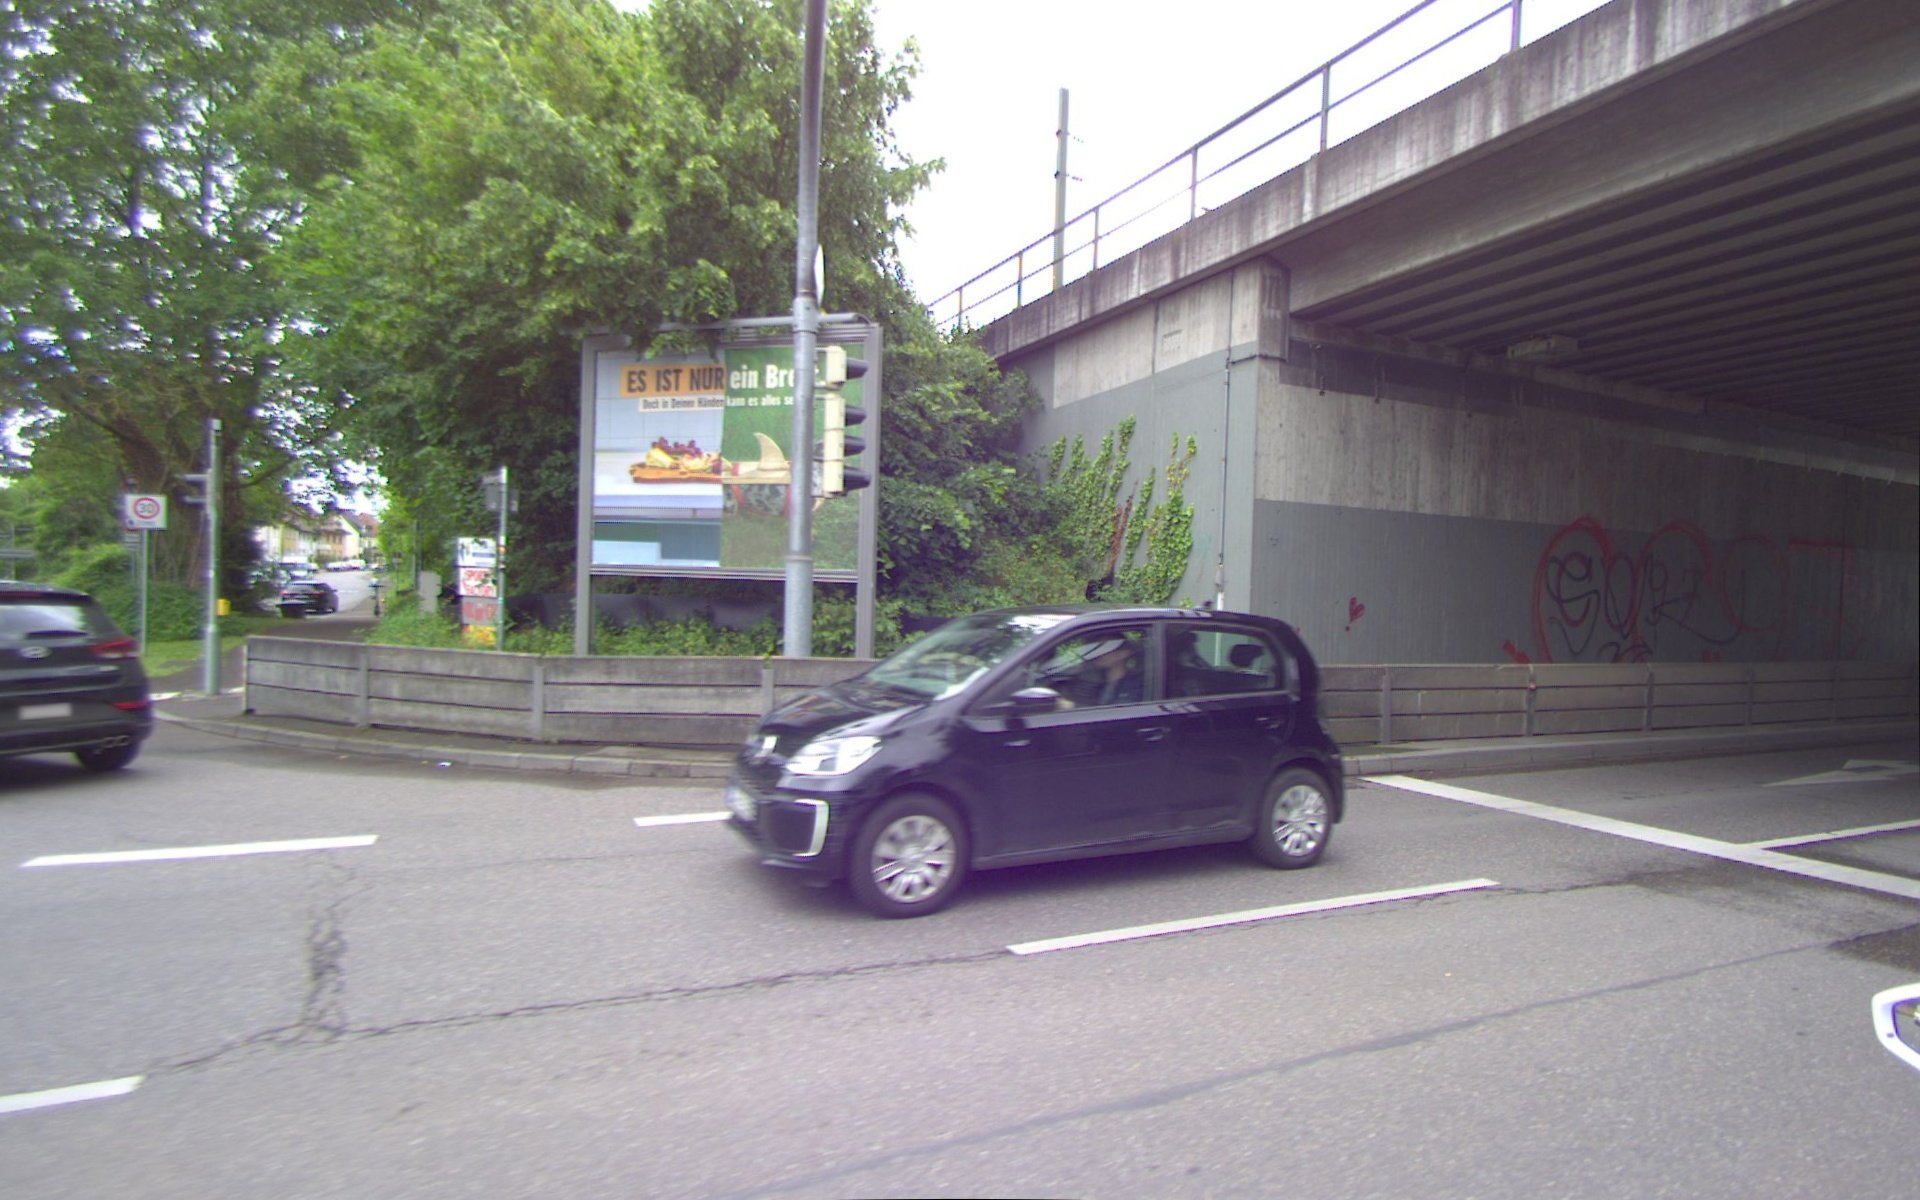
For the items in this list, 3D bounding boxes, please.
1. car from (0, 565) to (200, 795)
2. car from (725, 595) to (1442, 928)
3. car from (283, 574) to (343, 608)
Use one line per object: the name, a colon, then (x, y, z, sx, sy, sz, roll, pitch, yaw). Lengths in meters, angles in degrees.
car: (-8.000, 0.466, 7.534, 4.056, 1.497, 1.822, 2, 1, 21)
car: (0.768, 0.740, 6.008, 3.947, 1.428, 1.718, 1, 1, -26)
car: (-30.268, -0.436, 47.066, 1.975, 1.528, 3.971, 1, 1, -27)
